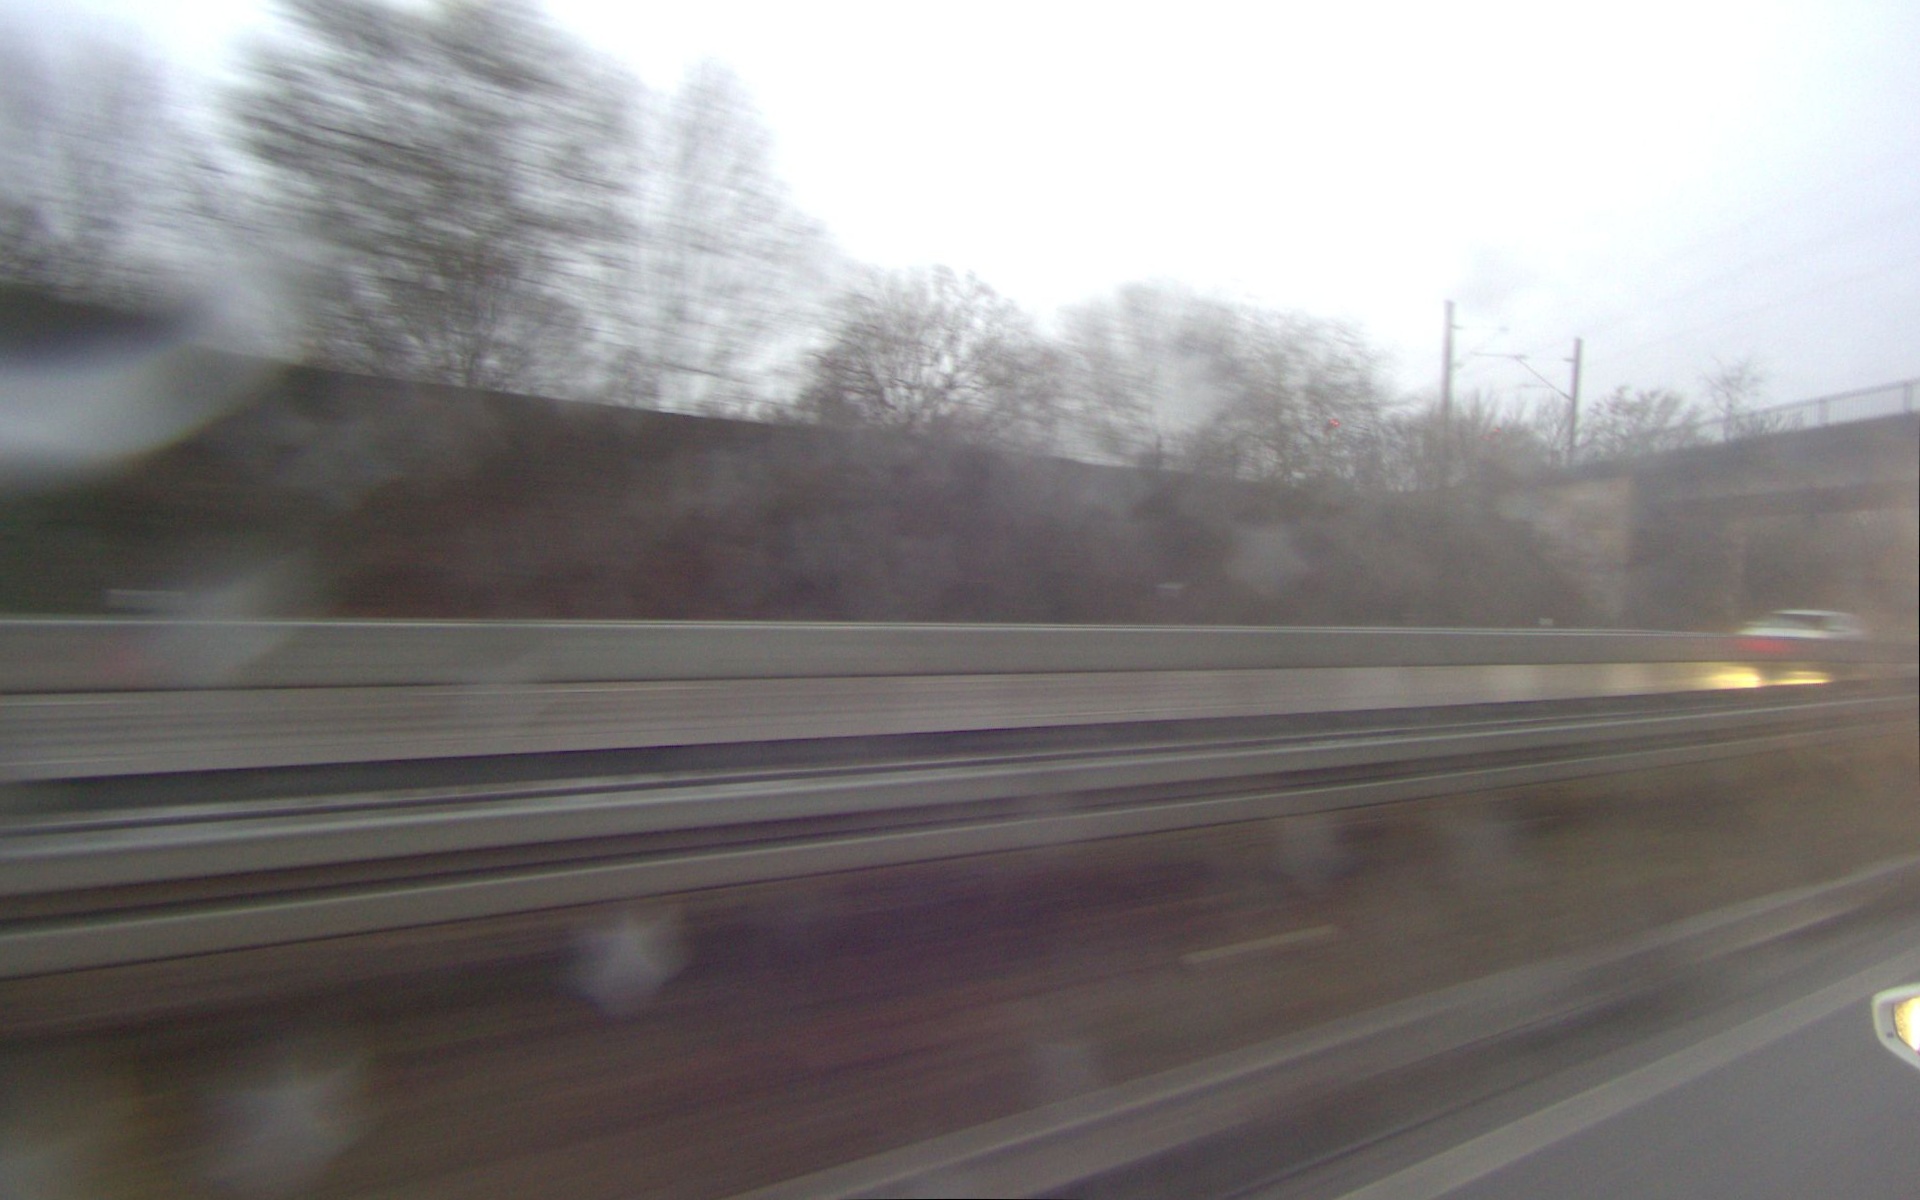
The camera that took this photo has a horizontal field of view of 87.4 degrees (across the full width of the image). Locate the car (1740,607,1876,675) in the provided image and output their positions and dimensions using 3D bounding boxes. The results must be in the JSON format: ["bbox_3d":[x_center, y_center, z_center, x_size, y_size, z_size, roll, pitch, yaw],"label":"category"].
[{"bbox_3d":[23.091,1.101,27.317,4.248,1.692,1.573,2,1,-32],"label":"car"}]
